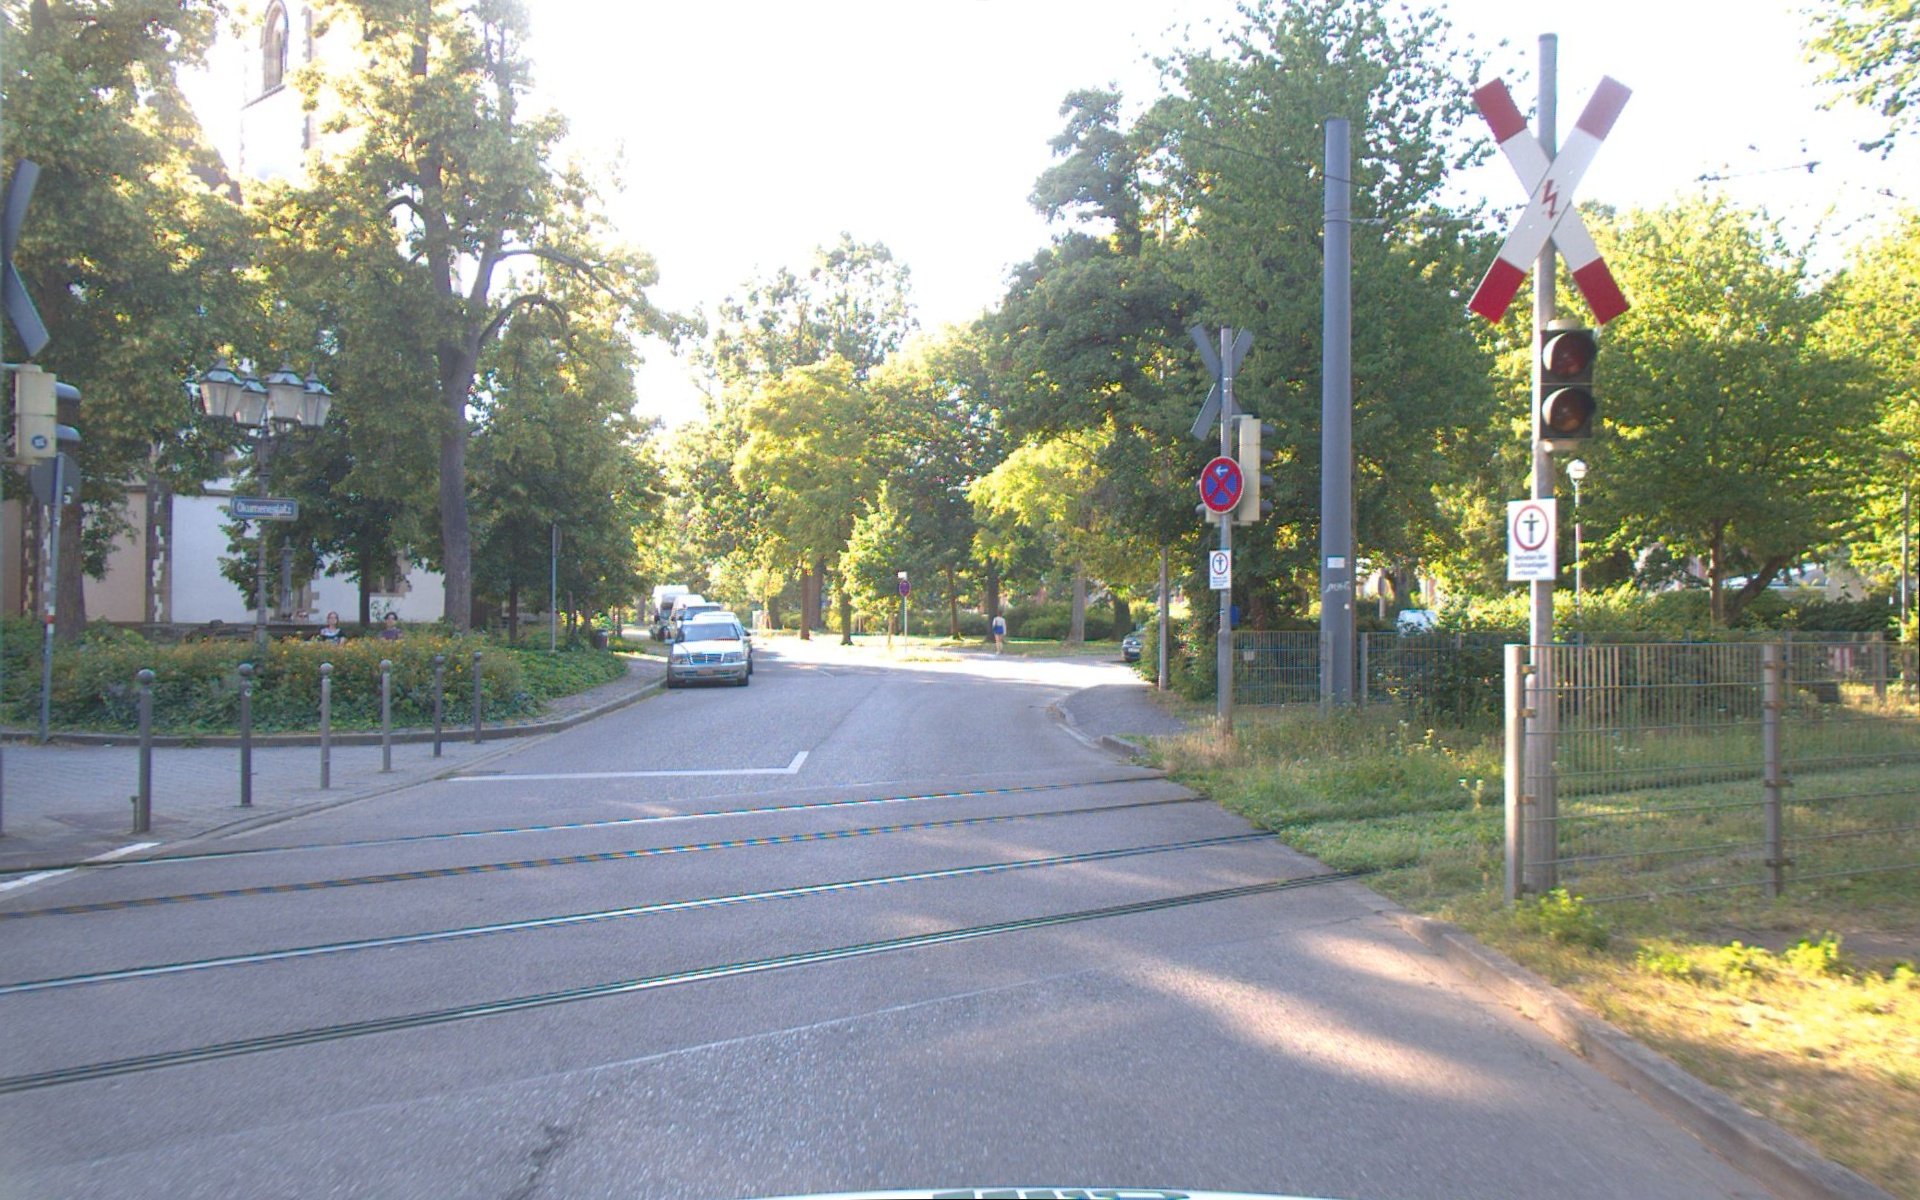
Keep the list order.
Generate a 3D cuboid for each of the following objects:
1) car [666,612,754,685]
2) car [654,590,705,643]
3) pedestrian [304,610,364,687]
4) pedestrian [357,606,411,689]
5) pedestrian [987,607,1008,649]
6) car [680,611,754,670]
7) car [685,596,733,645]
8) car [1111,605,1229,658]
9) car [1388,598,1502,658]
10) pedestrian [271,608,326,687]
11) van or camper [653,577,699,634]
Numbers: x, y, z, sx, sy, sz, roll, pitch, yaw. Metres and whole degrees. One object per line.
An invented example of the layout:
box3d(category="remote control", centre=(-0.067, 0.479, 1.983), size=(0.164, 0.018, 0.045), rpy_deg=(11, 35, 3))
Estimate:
box3d(category="car", centre=(-5.512, 1.035, 36.878), size=(1.745, 1.440, 4.491), rpy_deg=(-2, 0, -6))
box3d(category="car", centre=(-13.314, 0.772, 78.318), size=(1.821, 2.397, 5.163), rpy_deg=(1, 0, -16))
box3d(category="pedestrian", centre=(-10.128, 0.770, 26.782), size=(0.539, 1.216, 0.884), rpy_deg=(0, 0, 7))
box3d(category="pedestrian", centre=(-9.368, 0.766, 26.915), size=(0.539, 1.320, 0.766), rpy_deg=(0, 0, 7))
box3d(category="pedestrian", centre=(1.426, 1.079, 63.422), size=(0.757, 1.602, 0.767), rpy_deg=(0, -1, -1))
box3d(category="car", centre=(-6.484, 1.032, 43.905), size=(1.791, 1.440, 4.485), rpy_deg=(-2, 0, -9))
box3d(category="car", centre=(-10.701, 0.859, 70.210), size=(1.818, 1.980, 4.828), rpy_deg=(1, 0, -11))
box3d(category="car", centre=(7.240, 1.068, 56.729), size=(1.777, 1.705, 4.290), rpy_deg=(3, 1, 44))
box3d(category="car", centre=(17.355, 0.989, 59.061), size=(1.924, 2.049, 5.122), rpy_deg=(0, -1, 42))
box3d(category="pedestrian", centre=(-10.704, 0.758, 26.774), size=(0.539, 1.254, 0.725), rpy_deg=(0, 0, 7))
box3d(category="van or camper", centre=(-15.435, 0.281, 89.737), size=(2.054, 2.959, 6.310), rpy_deg=(1, 0, -13))
